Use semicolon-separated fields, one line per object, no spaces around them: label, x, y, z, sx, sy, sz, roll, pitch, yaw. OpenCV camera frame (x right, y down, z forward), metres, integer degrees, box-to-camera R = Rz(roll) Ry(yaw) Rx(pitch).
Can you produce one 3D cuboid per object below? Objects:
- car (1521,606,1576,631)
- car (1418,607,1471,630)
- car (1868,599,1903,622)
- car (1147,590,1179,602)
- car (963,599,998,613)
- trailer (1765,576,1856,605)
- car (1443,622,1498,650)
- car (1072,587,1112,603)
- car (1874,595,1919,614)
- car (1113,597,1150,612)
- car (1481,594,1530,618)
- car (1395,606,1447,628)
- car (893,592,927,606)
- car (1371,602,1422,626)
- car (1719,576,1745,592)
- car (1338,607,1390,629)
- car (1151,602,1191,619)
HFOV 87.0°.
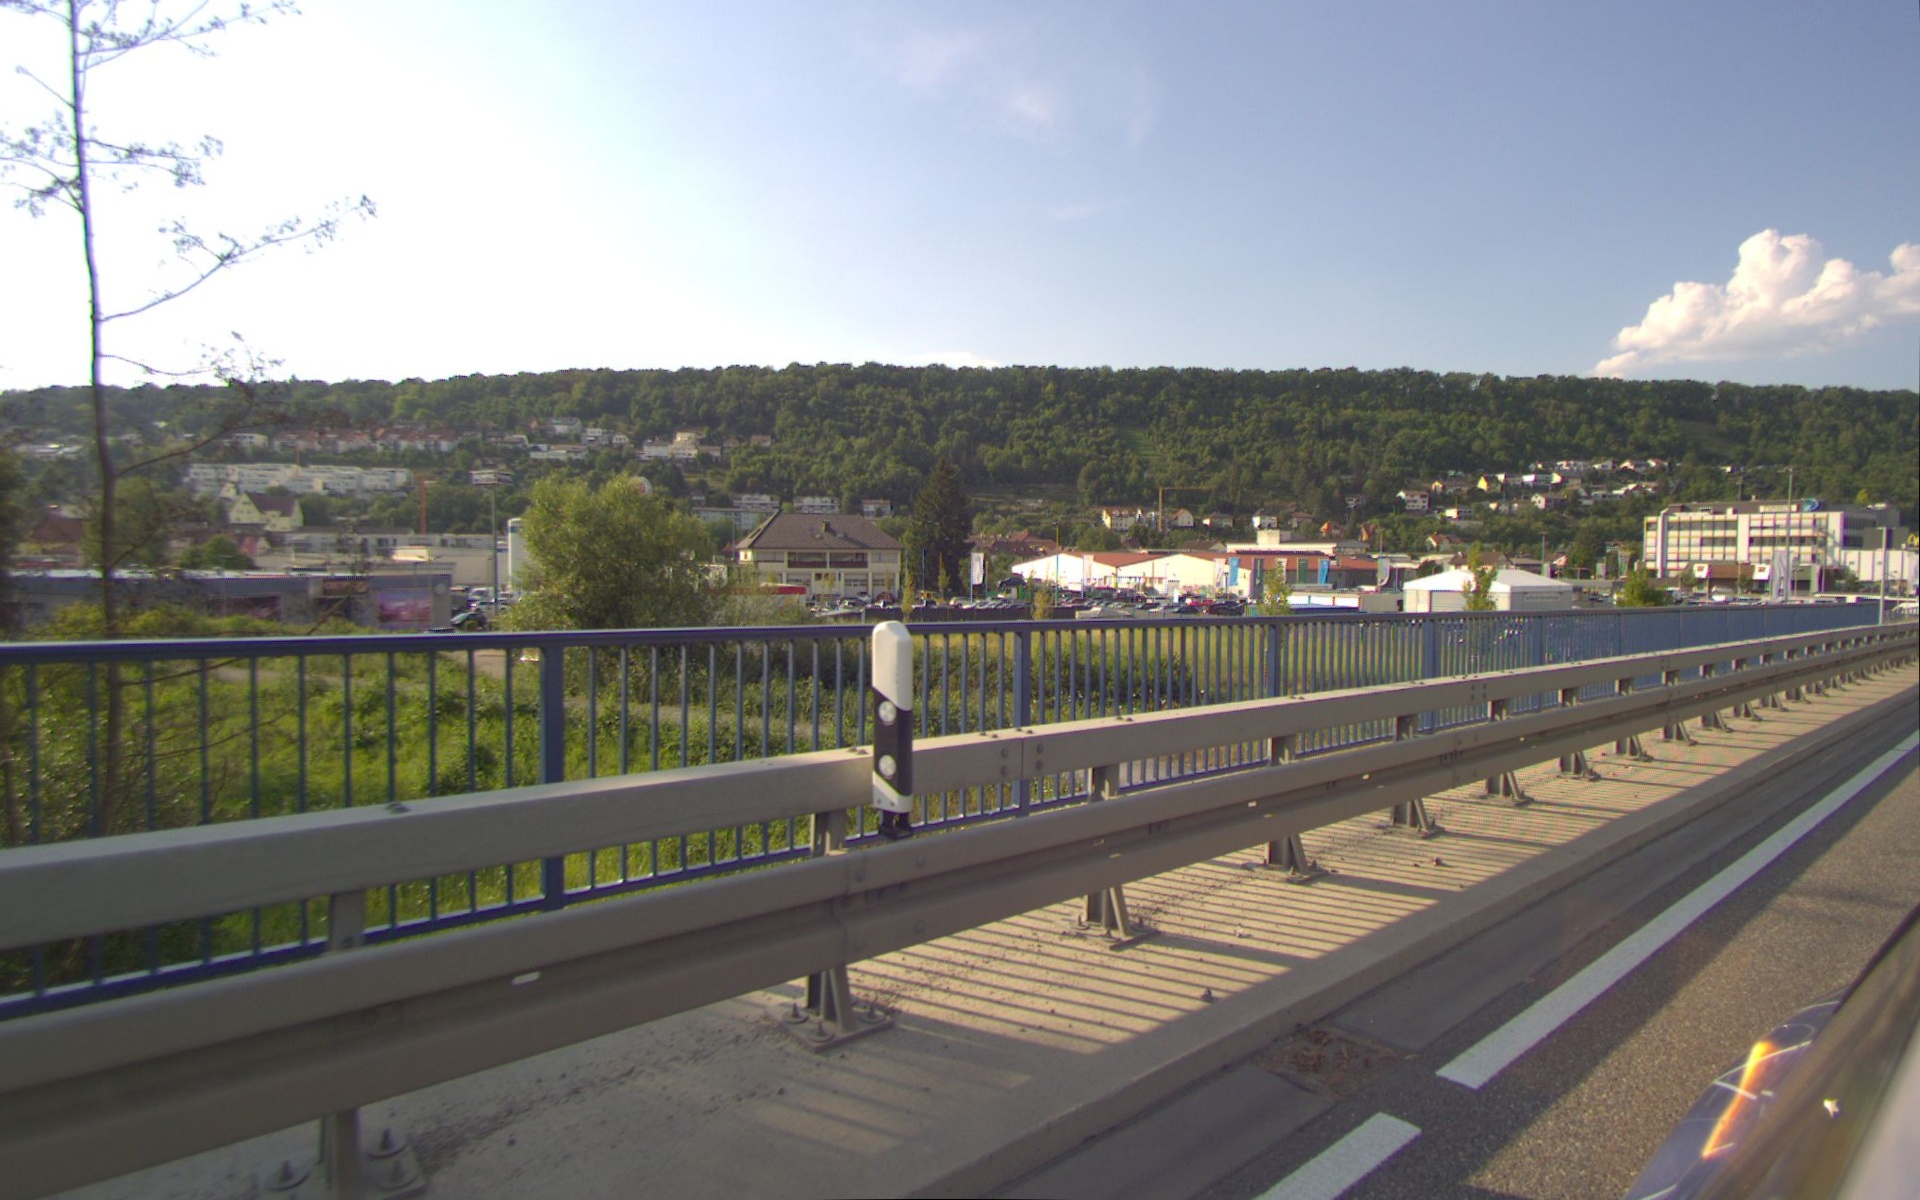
car;43.895;1.320;75.447;4.643;1.656;1.885;-2;1;-37
car;39.142;1.492;81.736;4.641;1.656;1.885;-2;1;-36
car;72.311;0.786;79.016;1.880;1.646;4.655;0;1;44
car;28.292;-0.535;141.039;4.138;1.521;1.593;-1;1;-18
car;2.460;0.696;121.247;3.701;1.597;1.756;-1;1;-21
trailer;103.532;-1.200;123.281;3.296;3.364;7.903;-1;1;-36
car;35.043;2.442;69.440;3.926;1.705;1.780;-2;1;-36
car;13.850;-0.521;106.199;3.702;1.597;1.756;-1;1;-24
car;105.364;0.499;112.035;1.964;2.039;5.896;-1;1;-38
car;19.578;0.543;115.542;3.701;1.597;1.756;-1;1;-19
car;41.885;0.405;77.668;3.925;1.705;1.780;-2;1;-36
car;38.222;1.399;83.876;4.641;1.656;1.885;-2;1;-36
car;-5.909;-0.111;120.234;3.701;1.597;1.756;-1;1;-21
car;32.027;0.984;74.213;3.926;1.623;1.711;-2;1;-37
car;112.185;-2.323;147.012;5.201;2.274;1.760;-2;1;-38
car;34.361;1.502;86.068;4.641;1.656;1.885;-2;1;-36
car;22.344;1.112;107.263;3.701;1.597;1.756;-1;1;-19
